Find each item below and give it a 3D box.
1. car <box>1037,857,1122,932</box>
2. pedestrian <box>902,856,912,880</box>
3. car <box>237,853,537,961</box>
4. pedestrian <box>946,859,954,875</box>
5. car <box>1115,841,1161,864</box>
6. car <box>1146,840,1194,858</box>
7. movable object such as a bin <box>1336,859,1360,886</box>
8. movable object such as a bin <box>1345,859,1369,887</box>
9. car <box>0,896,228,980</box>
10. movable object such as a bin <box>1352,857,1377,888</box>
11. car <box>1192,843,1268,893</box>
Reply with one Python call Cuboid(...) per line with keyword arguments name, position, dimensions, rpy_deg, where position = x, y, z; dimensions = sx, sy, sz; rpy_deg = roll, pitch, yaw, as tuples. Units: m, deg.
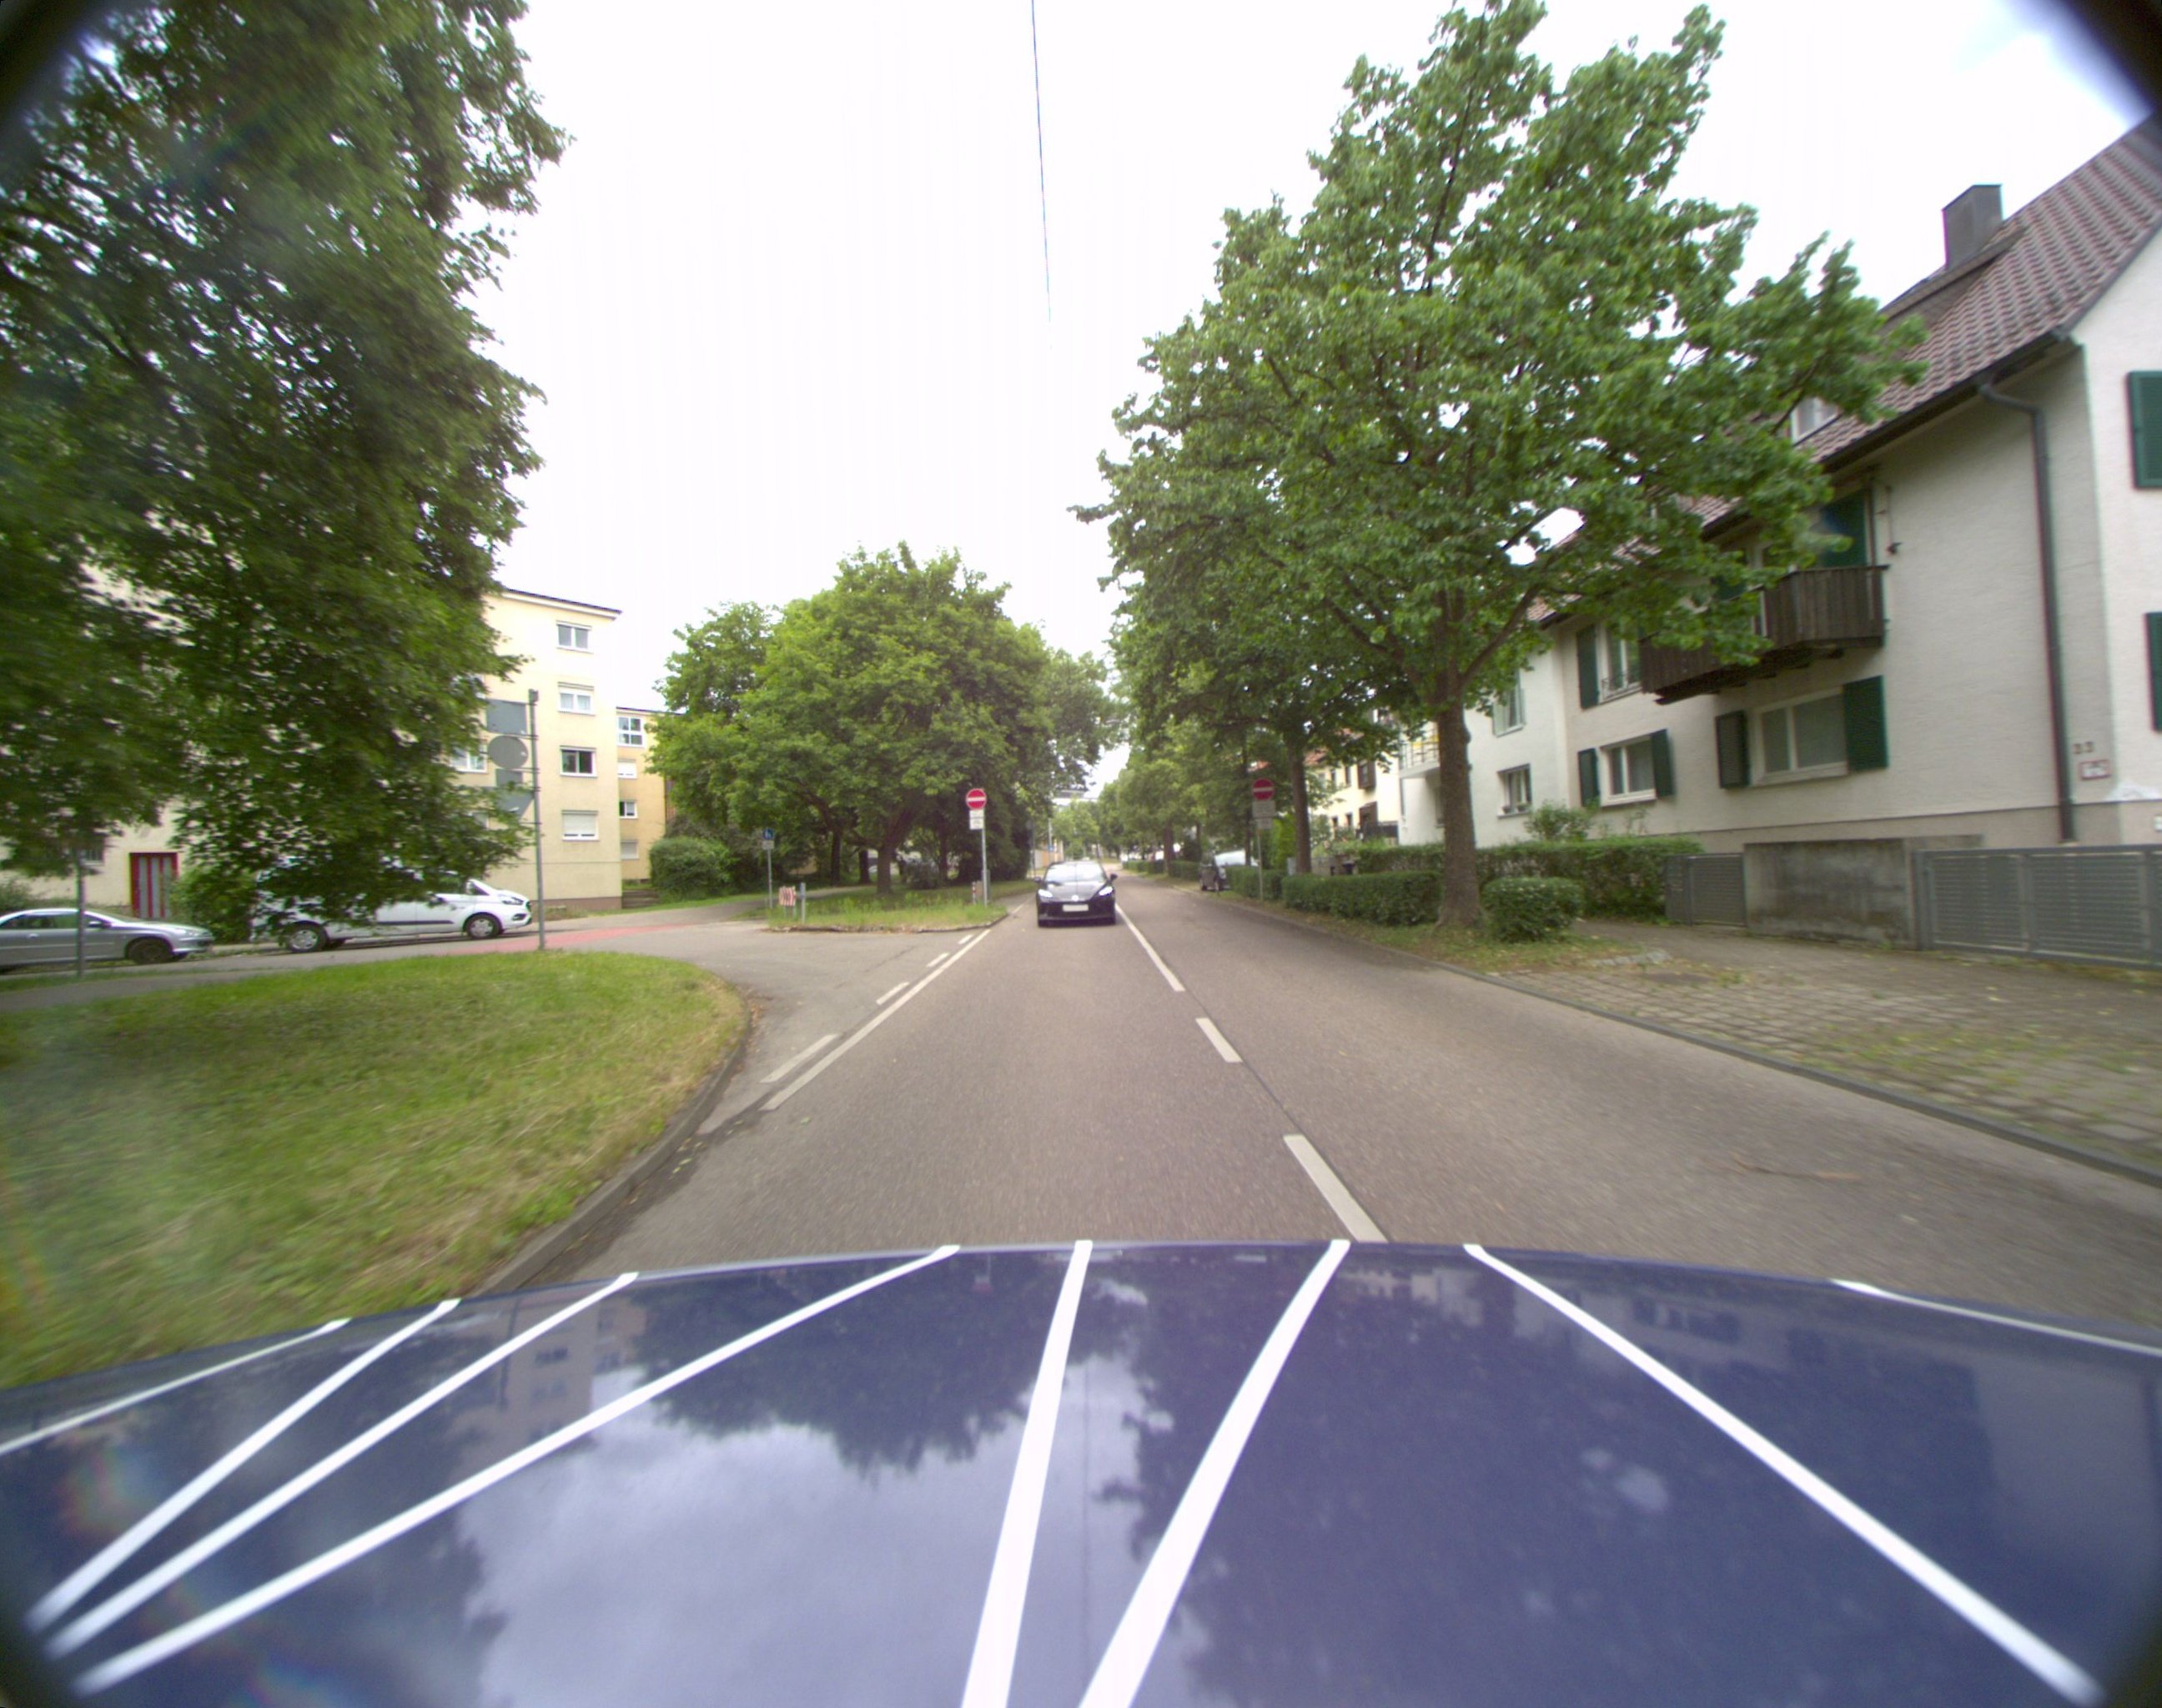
Cuboid(name="car", position=(-0.009, 0.896, 18.901), dimensions=(1.799, 1.552, 4.471), rpy_deg=(-2, 0, 0))
Cuboid(name="pedestrian", position=(-12.383, 0.970, 54.073), dimensions=(0.650, 1.651, 0.649), rpy_deg=(-2, 1, -10))
Cuboid(name="car", position=(-17.547, 1.243, 19.724), dimensions=(5.335, 2.285, 2.287), rpy_deg=(-2, 0, -32))
Cuboid(name="pedestrian", position=(-12.265, 1.224, 71.169), dimensions=(0.650, 1.409, 0.649), rpy_deg=(-2, 0, -10))
Cuboid(name="car", position=(8.477, -0.235, 113.956), dimensions=(2.441, 3.256, 7.771), rpy_deg=(-3, 1, -36))
Cuboid(name="car", position=(12.403, -0.729, 105.747), dimensions=(6.376, 2.334, 1.973), rpy_deg=(-2, 0, -21))
Cuboid(name="movable object such as a bin", position=(9.560, 0.659, 27.189), dimensions=(0.561, 0.935, 0.640), rpy_deg=(-2, 0, -5))
Cuboid(name="movable object such as a bin", position=(9.626, 0.664, 26.509), dimensions=(0.561, 0.935, 0.640), rpy_deg=(-2, 0, -5))
Cuboid(name="car", position=(-21.772, 1.806, 16.519), dimensions=(4.007, 1.501, 1.795), rpy_deg=(-2, 0, -38))
Cuboid(name="movable object such as a bin", position=(9.645, 0.627, 25.868), dimensions=(0.561, 1.019, 0.601), rpy_deg=(-2, 1, -5))
Cuboid(name="car", position=(5.748, 0.514, 29.807), dimensions=(1.830, 1.743, 4.452), rpy_deg=(-3, 0, -3))
